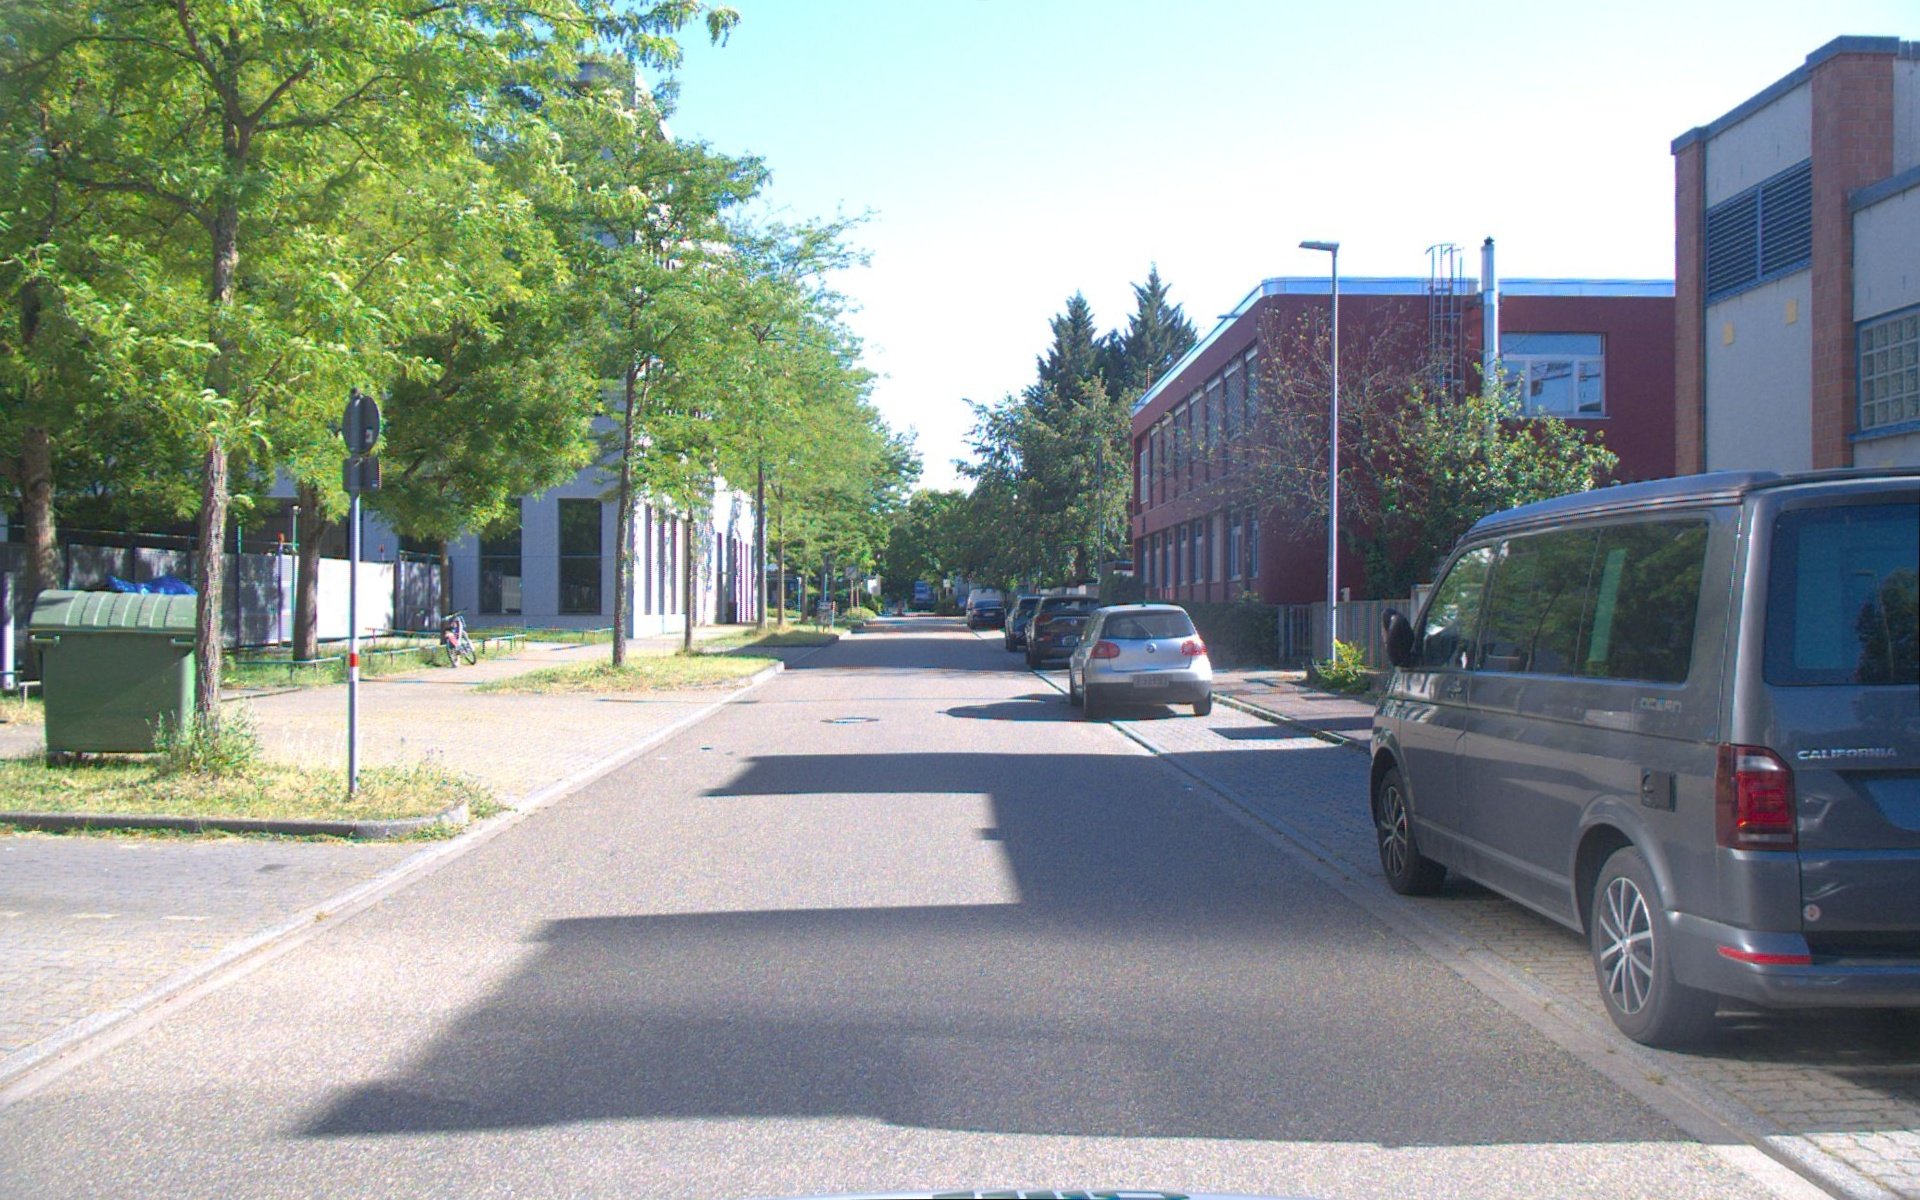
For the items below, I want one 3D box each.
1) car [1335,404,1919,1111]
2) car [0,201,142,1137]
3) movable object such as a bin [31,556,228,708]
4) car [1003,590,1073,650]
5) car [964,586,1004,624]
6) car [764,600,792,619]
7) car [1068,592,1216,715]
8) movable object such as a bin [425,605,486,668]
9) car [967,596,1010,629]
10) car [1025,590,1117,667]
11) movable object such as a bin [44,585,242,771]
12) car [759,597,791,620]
[{"bbox_3d":[3.227,0.466,7.282,1.904,2.057,4.823,-1,-1,-2],"label":"car"},{"bbox_3d":[-5.397,0.168,4.310,5.344,2.668,2.231,1,-1,-2],"label":"car"},{"bbox_3d":[-9.768,0.391,19.534,1.384,1.624,1.523,4,-3,2],"label":"movable object such as a bin"},{"bbox_3d":[2.270,0.556,48.898,1.817,1.677,3.999,-1,0,-1],"label":"car"},{"bbox_3d":[1.245,0.250,87.446,1.953,1.866,3.999,-3,0,-1],"label":"car"},{"bbox_3d":[-13.538,0.712,123.127,1.868,1.365,3.790,0,0,-4],"label":"car"},{"bbox_3d":[2.477,0.683,23.339,1.626,1.588,3.934,0,0,-1],"label":"car"},{"bbox_3d":[-10.044,0.710,32.959,0.649,1.202,1.935,0,0,-1],"label":"movable object such as a bin"},{"bbox_3d":[1.372,0.615,81.626,1.953,1.467,3.999,-3,0,-1],"label":"car"},{"bbox_3d":[2.479,0.618,37.834,1.800,1.662,4.201,0,0,0],"label":"car"},{"bbox_3d":[-6.634,0.604,13.526,1.274,1.438,1.221,0,0,-19],"label":"movable object such as a bin"},{"bbox_3d":[-12.459,0.549,111.361,1.954,1.483,3.790,-1,0,-4],"label":"car"}]
